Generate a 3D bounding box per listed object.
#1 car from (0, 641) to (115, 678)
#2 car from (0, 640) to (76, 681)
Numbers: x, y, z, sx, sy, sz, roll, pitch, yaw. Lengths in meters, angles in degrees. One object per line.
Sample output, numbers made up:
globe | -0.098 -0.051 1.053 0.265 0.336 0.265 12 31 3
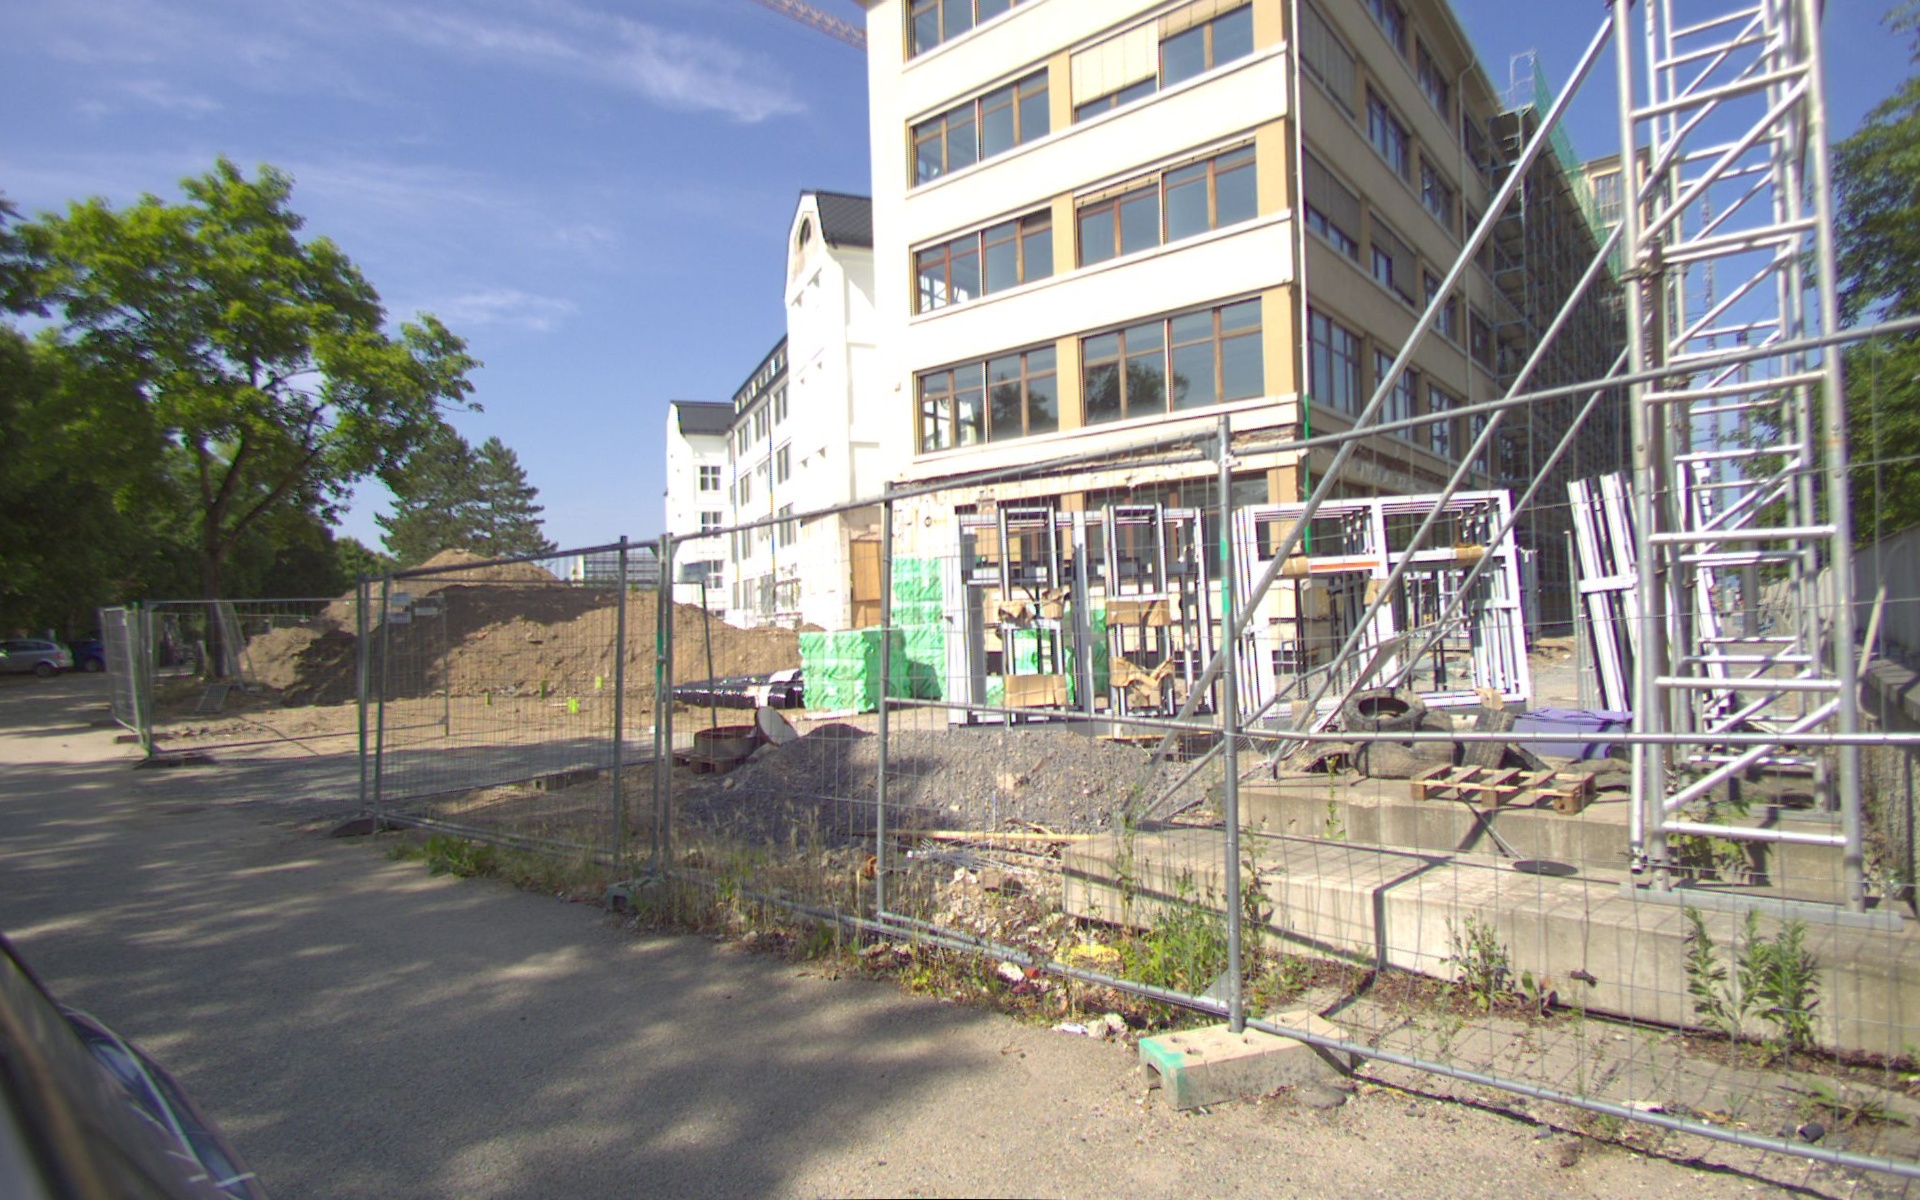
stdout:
car | -39.771 2.580 44.341 3.932 1.453 2.006 -1 -1 -31
car | -37.336 2.380 39.522 3.932 1.519 2.006 -1 -1 -31
